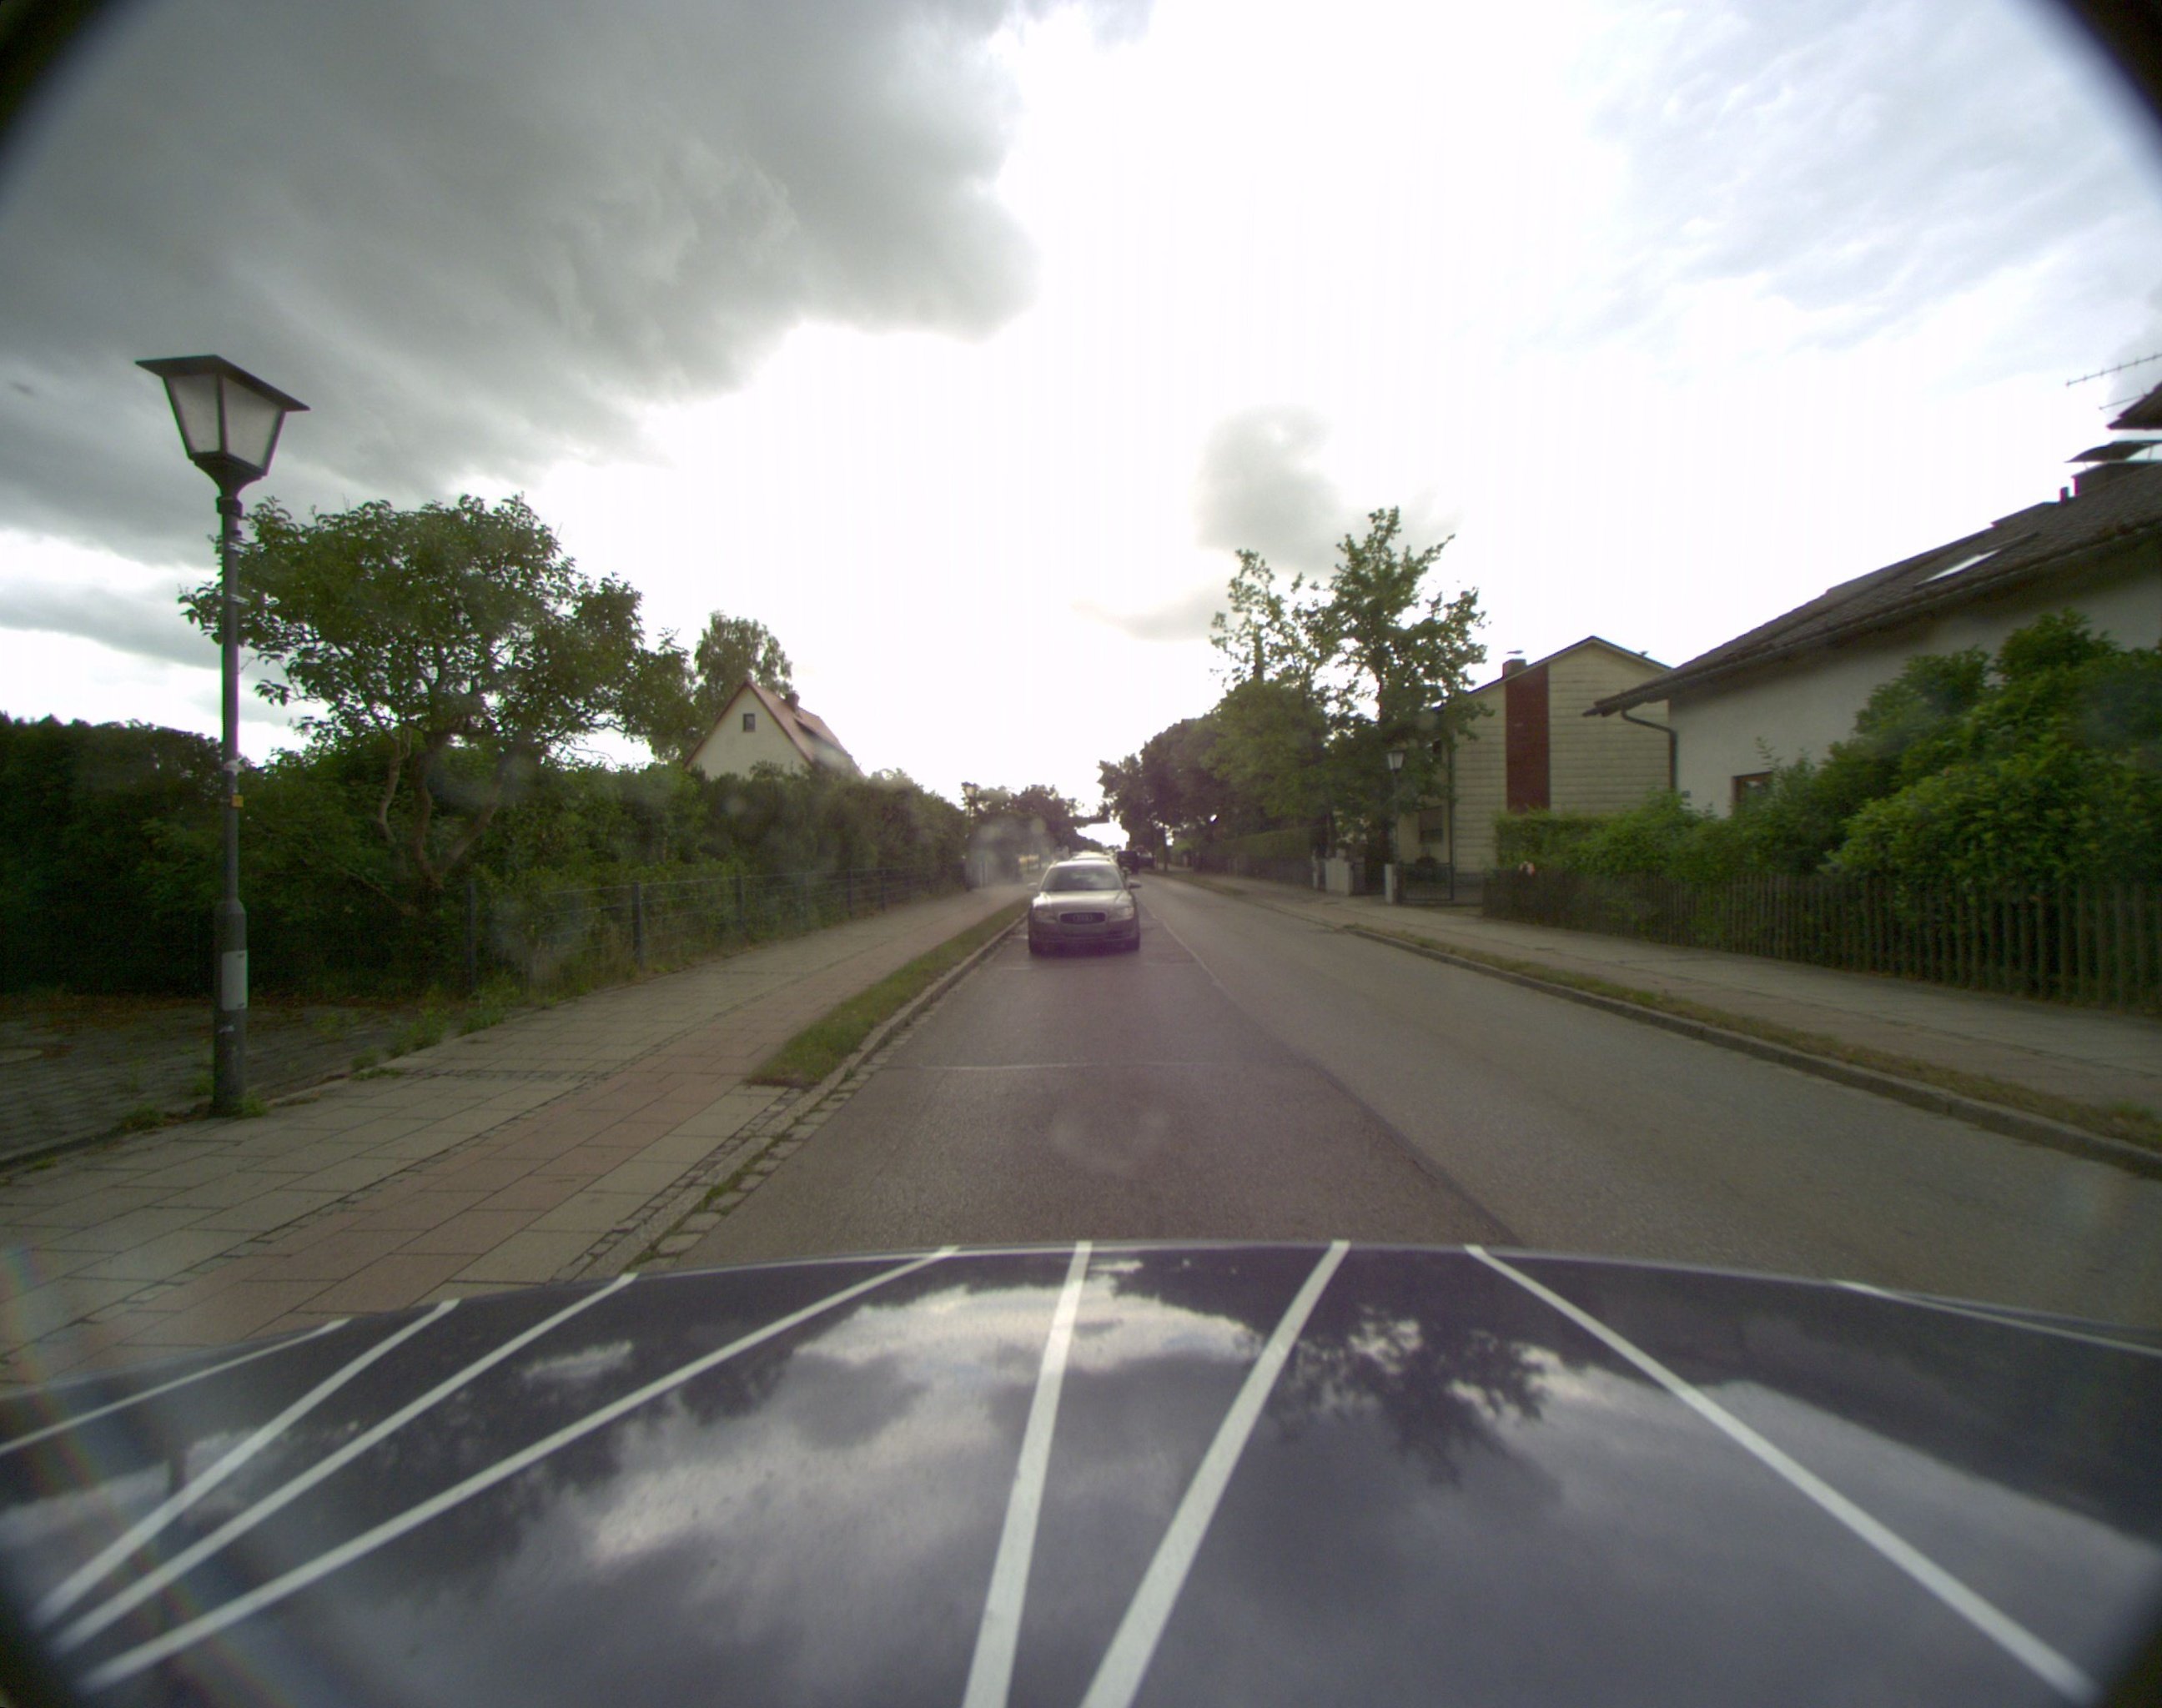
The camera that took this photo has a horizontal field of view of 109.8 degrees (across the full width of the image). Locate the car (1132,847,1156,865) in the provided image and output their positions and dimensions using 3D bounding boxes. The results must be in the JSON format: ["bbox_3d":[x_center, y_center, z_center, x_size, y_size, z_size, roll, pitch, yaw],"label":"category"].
[{"bbox_3d":[6.310,0.208,76.637,1.999,1.739,3.999,-1,0,-2],"label":"car"}]

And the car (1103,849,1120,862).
[{"bbox_3d":[3.645,0.200,92.275,1.851,1.445,4.548,-1,0,0],"label":"car"}]

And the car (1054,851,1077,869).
[{"bbox_3d":[-1.299,0.479,65.368,1.866,1.518,4.122,-1,0,-1],"label":"car"}]

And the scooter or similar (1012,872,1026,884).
[{"bbox_3d":[-3.085,1.182,37.901,0.618,0.553,0.742,-1,0,-2],"label":"scooter or similar"}]

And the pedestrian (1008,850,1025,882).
[{"bbox_3d":[-3.265,0.621,38.544,0.792,1.593,0.671,-1,1,-2],"label":"pedestrian"}]

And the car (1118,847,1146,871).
[{"bbox_3d":[4.065,0.382,61.233,1.969,1.842,4.948,-1,0,2],"label":"car"}]

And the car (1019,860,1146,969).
[{"bbox_3d":[0.045,0.890,13.114,1.809,1.476,4.270,-1,0,1],"label":"car"}]

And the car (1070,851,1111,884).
[{"bbox_3d":[0.476,0.621,37.376,1.866,1.518,4.122,-1,0,1],"label":"car"}]

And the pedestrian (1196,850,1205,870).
[{"bbox_3d":[9.004,0.455,57.278,0.631,1.429,0.563,-1,1,1],"label":"pedestrian"}]

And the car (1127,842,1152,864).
[{"bbox_3d":[6.328,-0.144,82.622,2.246,2.258,4.469,-1,0,-2],"label":"car"}]

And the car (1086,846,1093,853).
[{"bbox_3d":[2.365,-1.189,218.398,1.998,2.002,4.000,-1,0,1],"label":"car"}]

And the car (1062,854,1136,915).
[{"bbox_3d":[0.484,0.790,22.021,1.866,1.518,4.943,-1,0,1],"label":"car"}]
